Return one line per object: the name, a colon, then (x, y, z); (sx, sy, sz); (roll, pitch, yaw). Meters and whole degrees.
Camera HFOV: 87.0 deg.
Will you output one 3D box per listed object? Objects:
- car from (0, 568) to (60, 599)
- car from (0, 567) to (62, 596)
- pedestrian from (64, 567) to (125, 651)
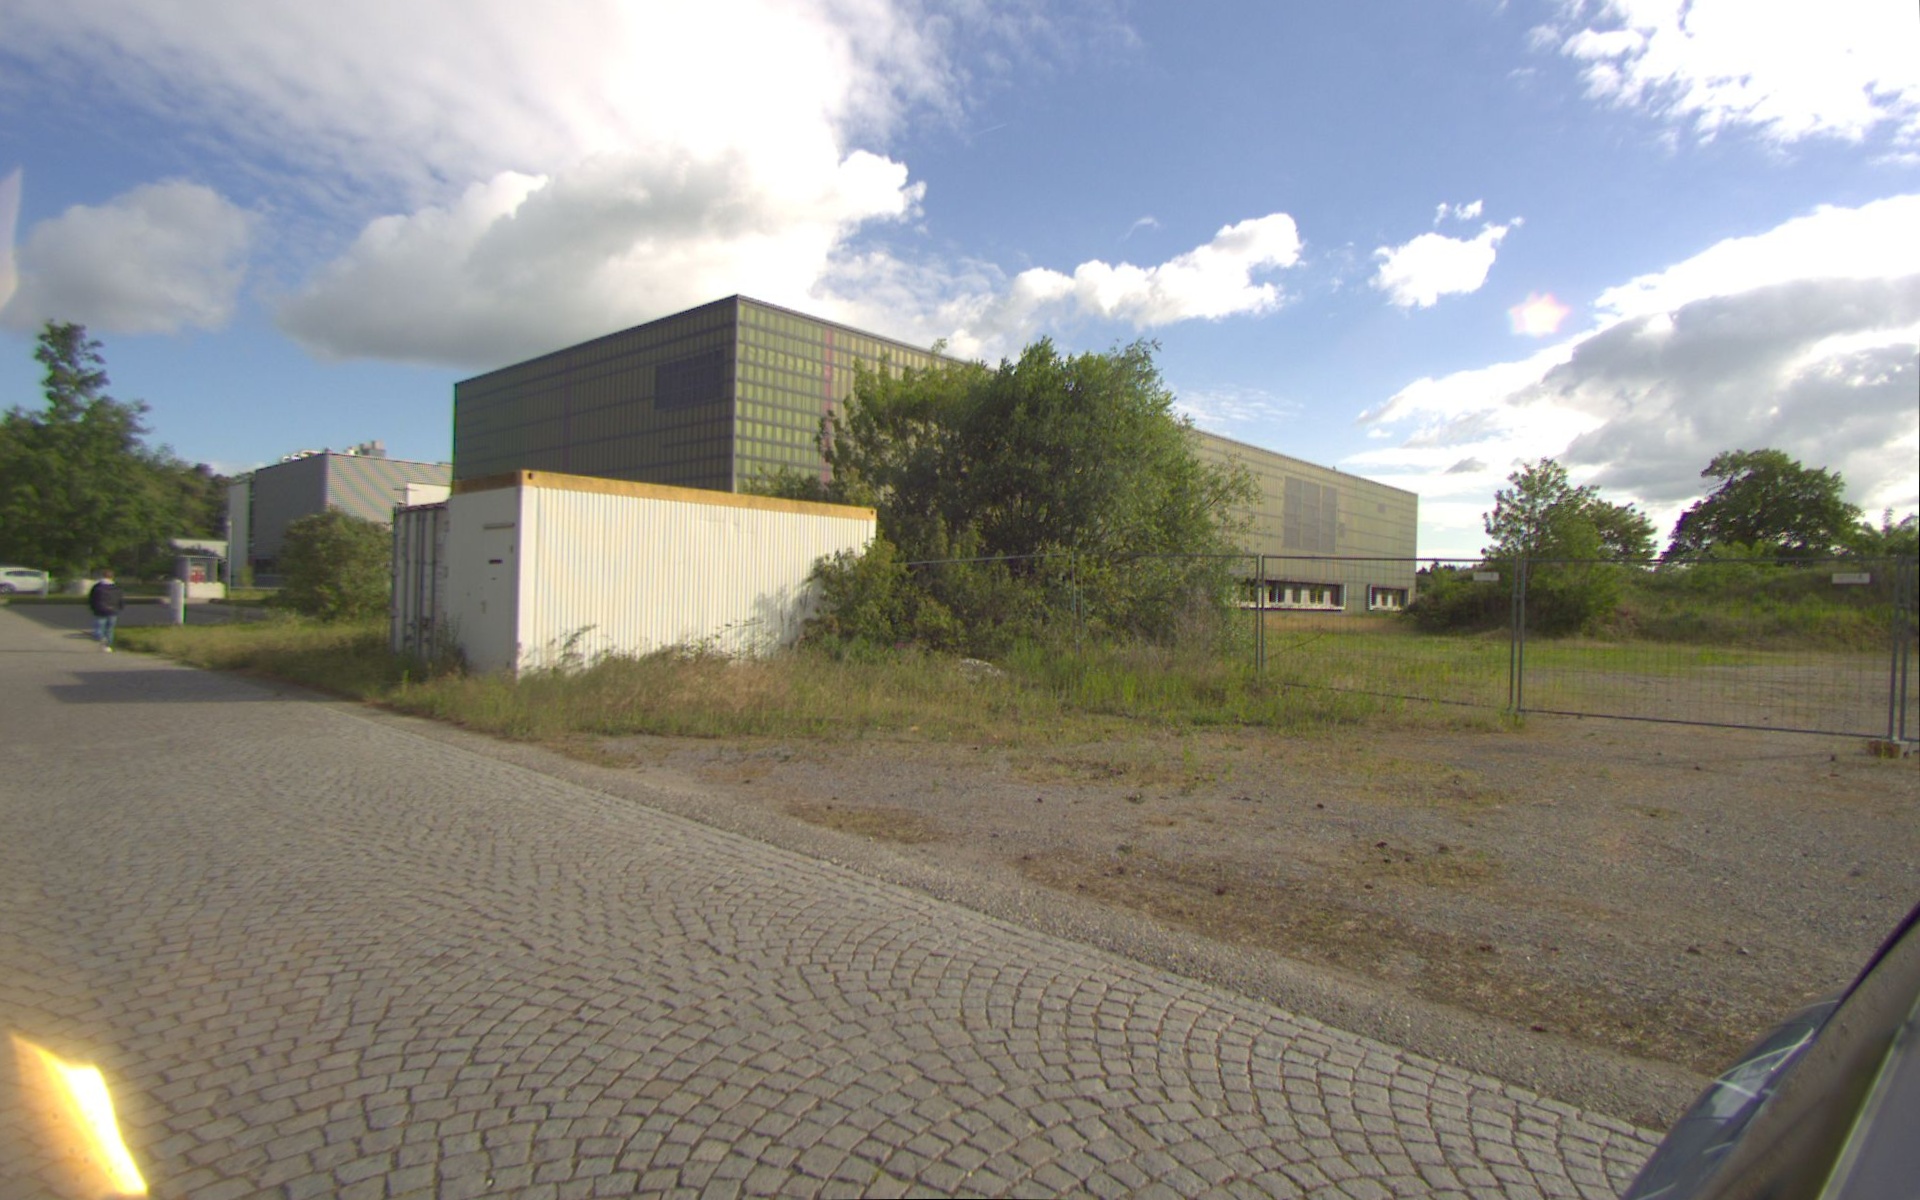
car: (-54.216, -0.957, 57.997); (3.932, 1.663, 1.996); (1, 0, -43)
car: (-55.894, -1.096, 60.017); (3.932, 1.663, 1.996); (1, 0, -43)
pedestrian: (-16.878, 0.163, 19.743); (0.852, 1.578, 1.026); (1, 0, -41)
